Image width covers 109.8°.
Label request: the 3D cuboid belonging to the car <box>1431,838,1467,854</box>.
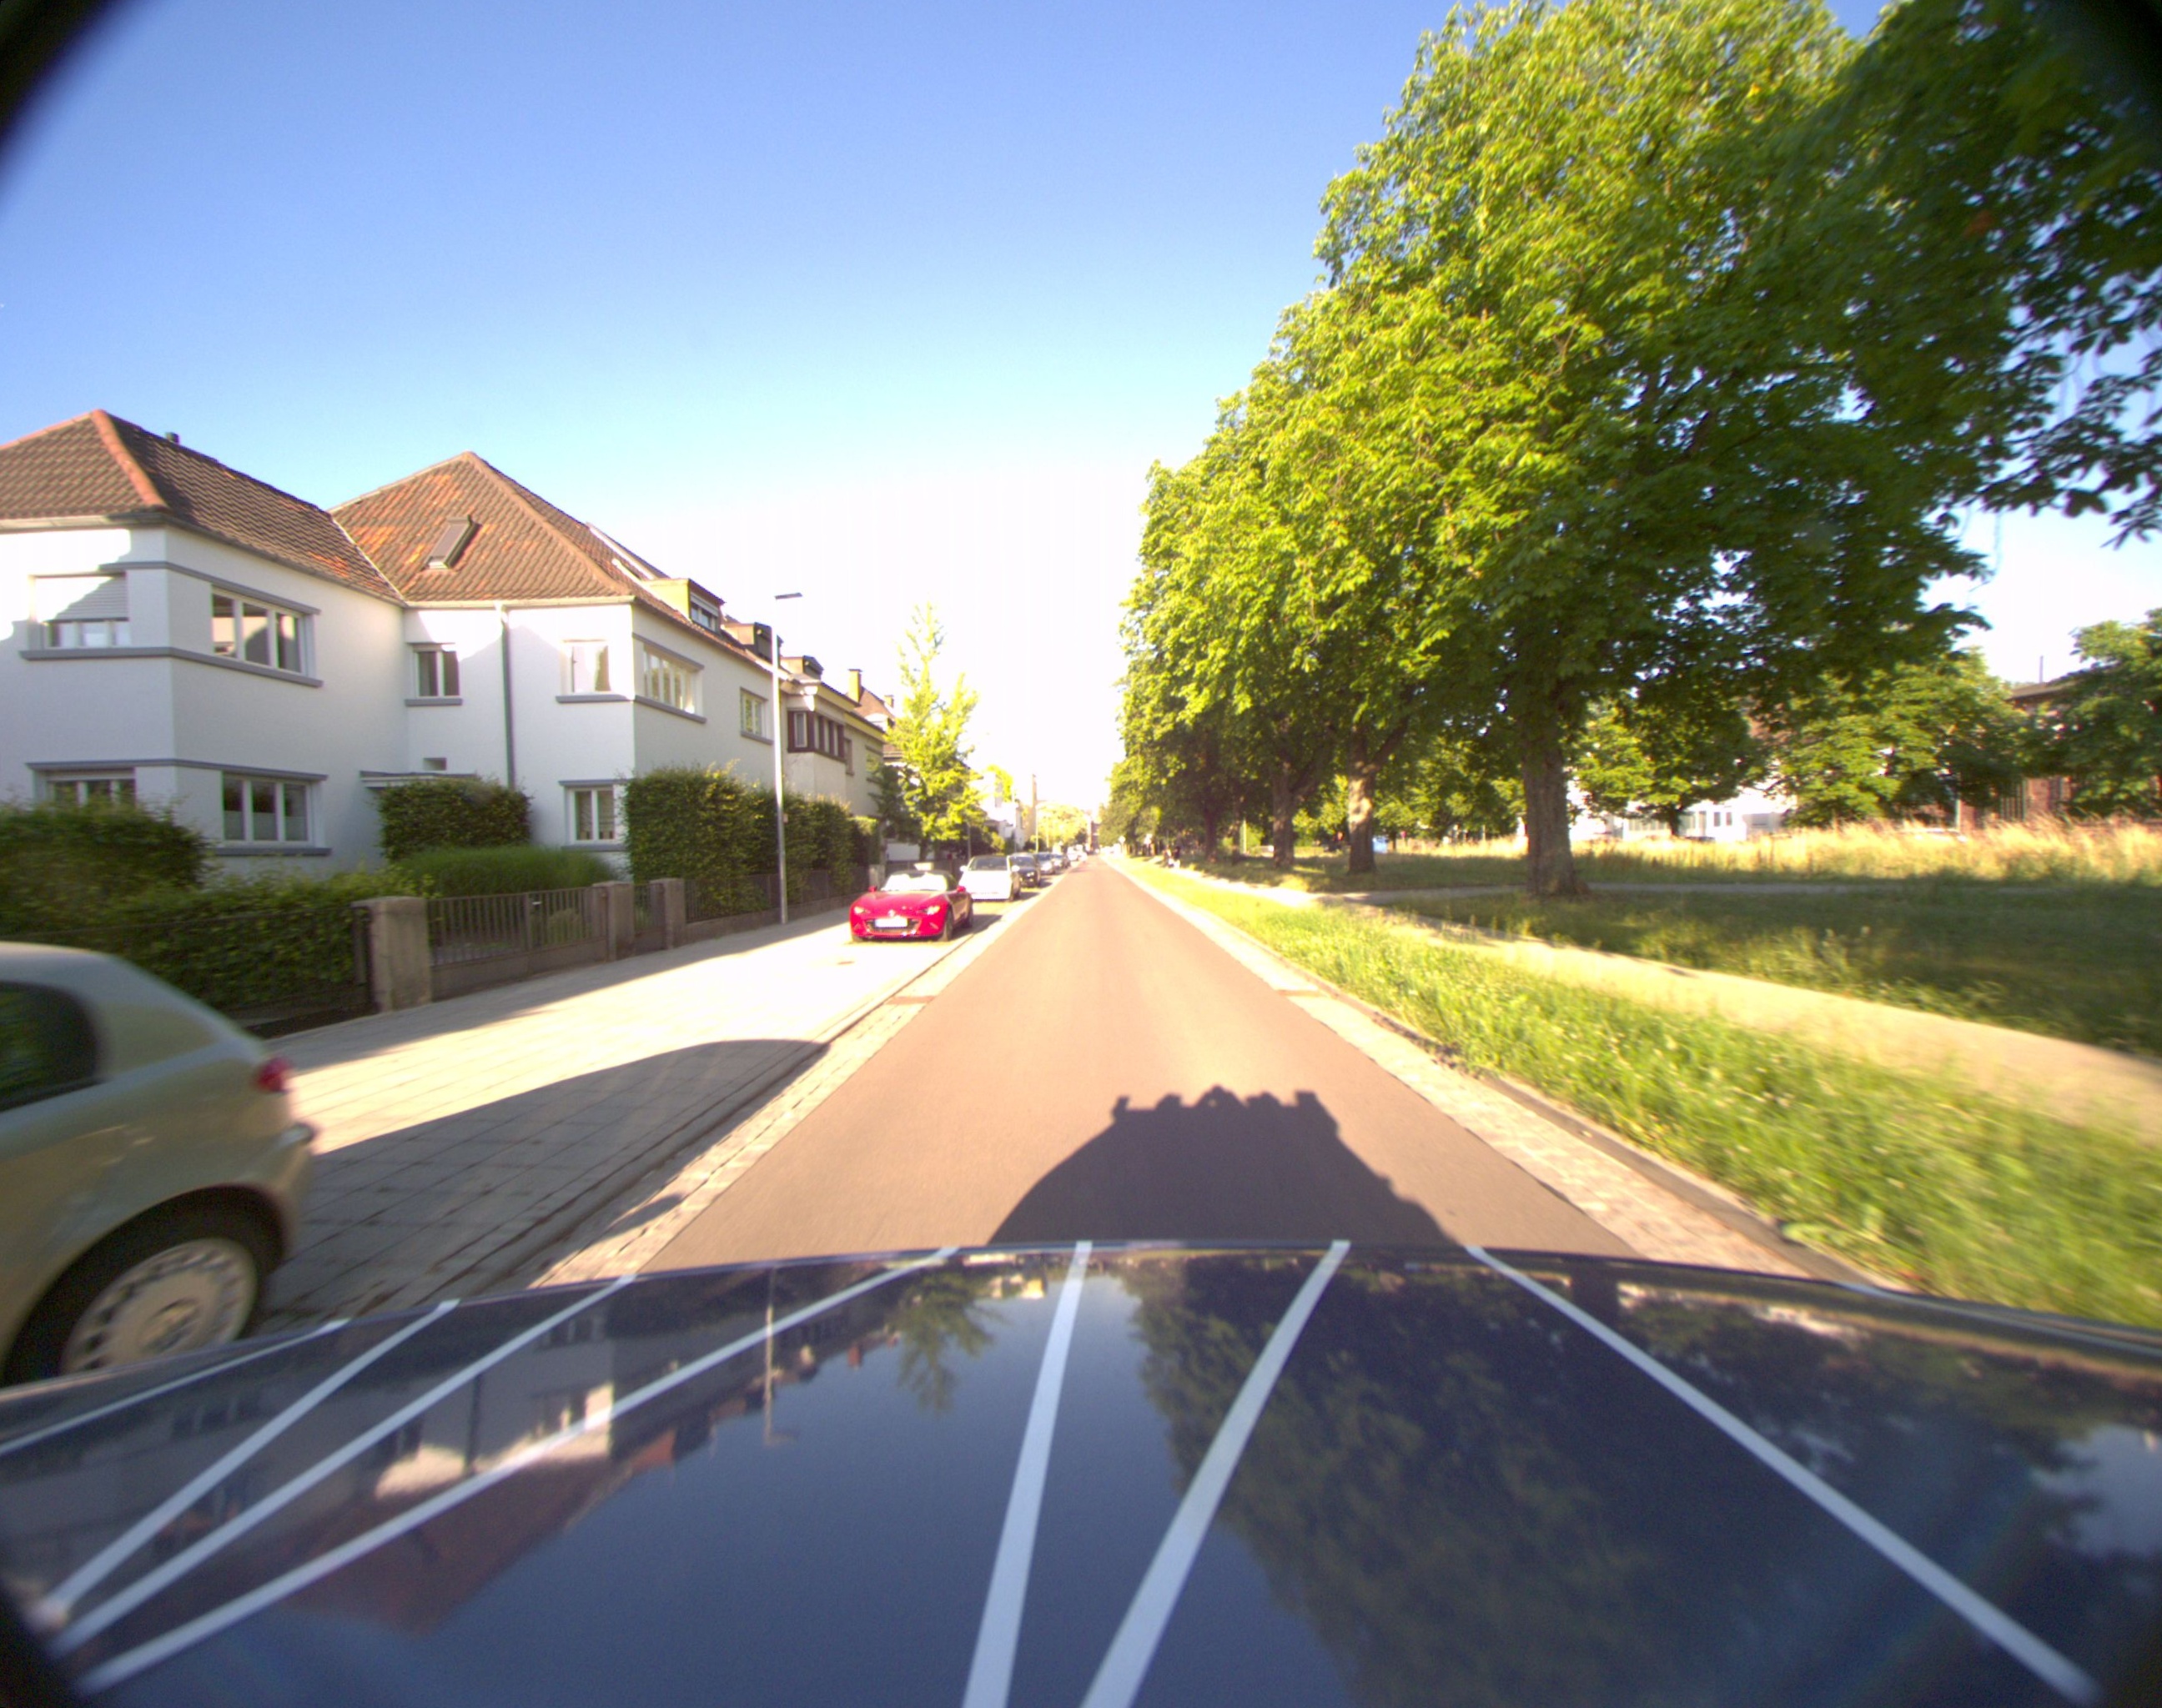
[{"bbox_3d":[38.558,-0.818,79.692,1.766,1.619,4.000,-2,1,1],"label":"car"}]

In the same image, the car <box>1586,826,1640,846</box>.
[{"bbox_3d":[43.058,-1.466,61.603,1.767,1.471,3.795,-3,1,1],"label":"car"}]

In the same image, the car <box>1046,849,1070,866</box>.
[{"bbox_3d":[-2.095,0.325,70.145,1.844,1.471,3.764,-2,1,2],"label":"car"}]

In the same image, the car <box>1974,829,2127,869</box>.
[{"bbox_3d":[43.319,-0.220,34.099,1.766,1.619,4.000,-2,1,1],"label":"car"}]

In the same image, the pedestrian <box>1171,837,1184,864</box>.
[{"bbox_3d":[6.704,-0.246,52.804,0.625,1.841,0.606,-1,2,40],"label":"pedestrian"}]

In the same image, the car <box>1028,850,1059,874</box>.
[{"bbox_3d":[-2.448,0.487,50.452,1.665,1.526,3.833,0,1,2],"label":"car"}]

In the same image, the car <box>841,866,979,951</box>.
[{"bbox_3d":[-3.108,0.947,14.593,1.702,1.250,3.879,-1,1,1],"label":"car"}]

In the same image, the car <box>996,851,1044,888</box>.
[{"bbox_3d":[-2.667,0.654,33.954,1.745,1.471,4.056,-2,1,0],"label":"car"}]

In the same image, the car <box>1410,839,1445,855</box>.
[{"bbox_3d":[38.677,-0.799,84.879,1.873,1.619,4.426,-2,1,1],"label":"car"}]

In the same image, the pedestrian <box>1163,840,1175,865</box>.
[{"bbox_3d":[6.027,-0.102,52.045,0.625,1.621,0.606,-2,2,27],"label":"pedestrian"}]

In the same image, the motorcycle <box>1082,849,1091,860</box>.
[{"bbox_3d":[0.690,0.085,100.662,1.077,1.373,2.463,-3,1,0],"label":"motorcycle"}]

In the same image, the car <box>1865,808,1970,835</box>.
[{"bbox_3d":[43.490,-1.680,39.597,1.585,1.267,3.580,-3,1,2],"label":"car"}]

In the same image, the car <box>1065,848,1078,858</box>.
[{"bbox_3d":[-1.450,-0.115,118.413,1.844,1.471,3.763,-2,1,0],"label":"car"}]

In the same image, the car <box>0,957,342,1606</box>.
[{"bbox_3d":[-3.403,1.049,0.510,1.798,1.372,4.078,1,1,1],"label":"car"}]

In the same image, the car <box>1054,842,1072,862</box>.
[{"bbox_3d":[-2.055,-0.286,87.323,1.844,2.196,3.764,-2,1,2],"label":"car"}]

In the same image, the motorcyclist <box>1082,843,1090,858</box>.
[{"bbox_3d":[0.661,-0.493,100.557,0.961,2.002,1.273,-3,1,0],"label":"motorcyclist"}]

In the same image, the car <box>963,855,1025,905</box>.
[{"bbox_3d":[-2.765,0.786,24.774,1.508,1.471,3.492,0,1,1],"label":"car"}]
